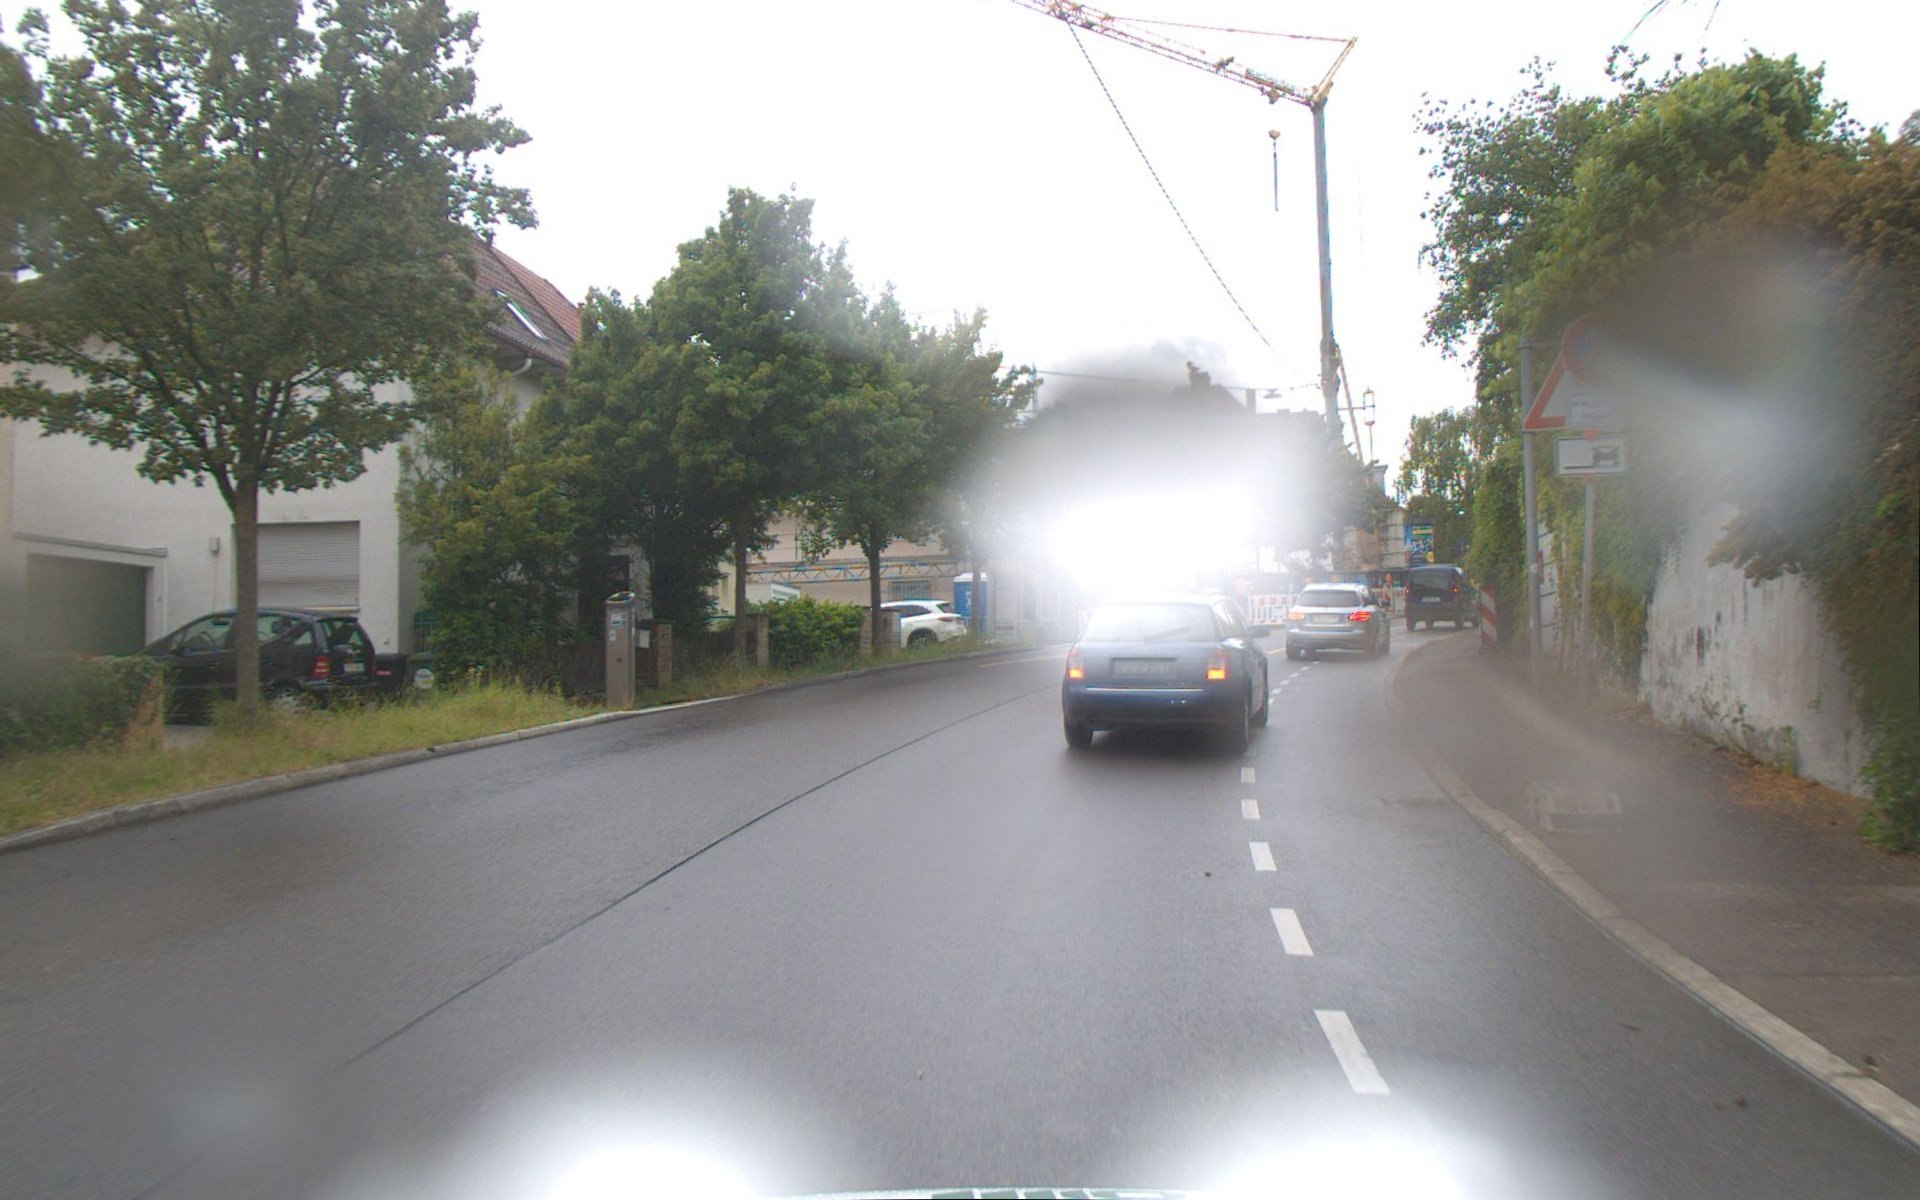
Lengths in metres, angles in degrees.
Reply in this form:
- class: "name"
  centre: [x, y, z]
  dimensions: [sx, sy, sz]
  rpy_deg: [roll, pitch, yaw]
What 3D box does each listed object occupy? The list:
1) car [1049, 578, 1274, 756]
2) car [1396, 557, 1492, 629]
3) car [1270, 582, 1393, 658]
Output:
- class: "car"
  centre: [2.103, 0.546, 16.300]
  dimensions: [1.739, 1.464, 4.004]
  rpy_deg: [1, 1, 13]
- class: "car"
  centre: [14.419, -0.238, 49.127]
  dimensions: [1.698, 1.927, 4.048]
  rpy_deg: [-5, -1, 30]
- class: "car"
  centre: [7.557, 0.363, 33.367]
  dimensions: [1.869, 1.412, 4.351]
  rpy_deg: [-1, 0, 20]
